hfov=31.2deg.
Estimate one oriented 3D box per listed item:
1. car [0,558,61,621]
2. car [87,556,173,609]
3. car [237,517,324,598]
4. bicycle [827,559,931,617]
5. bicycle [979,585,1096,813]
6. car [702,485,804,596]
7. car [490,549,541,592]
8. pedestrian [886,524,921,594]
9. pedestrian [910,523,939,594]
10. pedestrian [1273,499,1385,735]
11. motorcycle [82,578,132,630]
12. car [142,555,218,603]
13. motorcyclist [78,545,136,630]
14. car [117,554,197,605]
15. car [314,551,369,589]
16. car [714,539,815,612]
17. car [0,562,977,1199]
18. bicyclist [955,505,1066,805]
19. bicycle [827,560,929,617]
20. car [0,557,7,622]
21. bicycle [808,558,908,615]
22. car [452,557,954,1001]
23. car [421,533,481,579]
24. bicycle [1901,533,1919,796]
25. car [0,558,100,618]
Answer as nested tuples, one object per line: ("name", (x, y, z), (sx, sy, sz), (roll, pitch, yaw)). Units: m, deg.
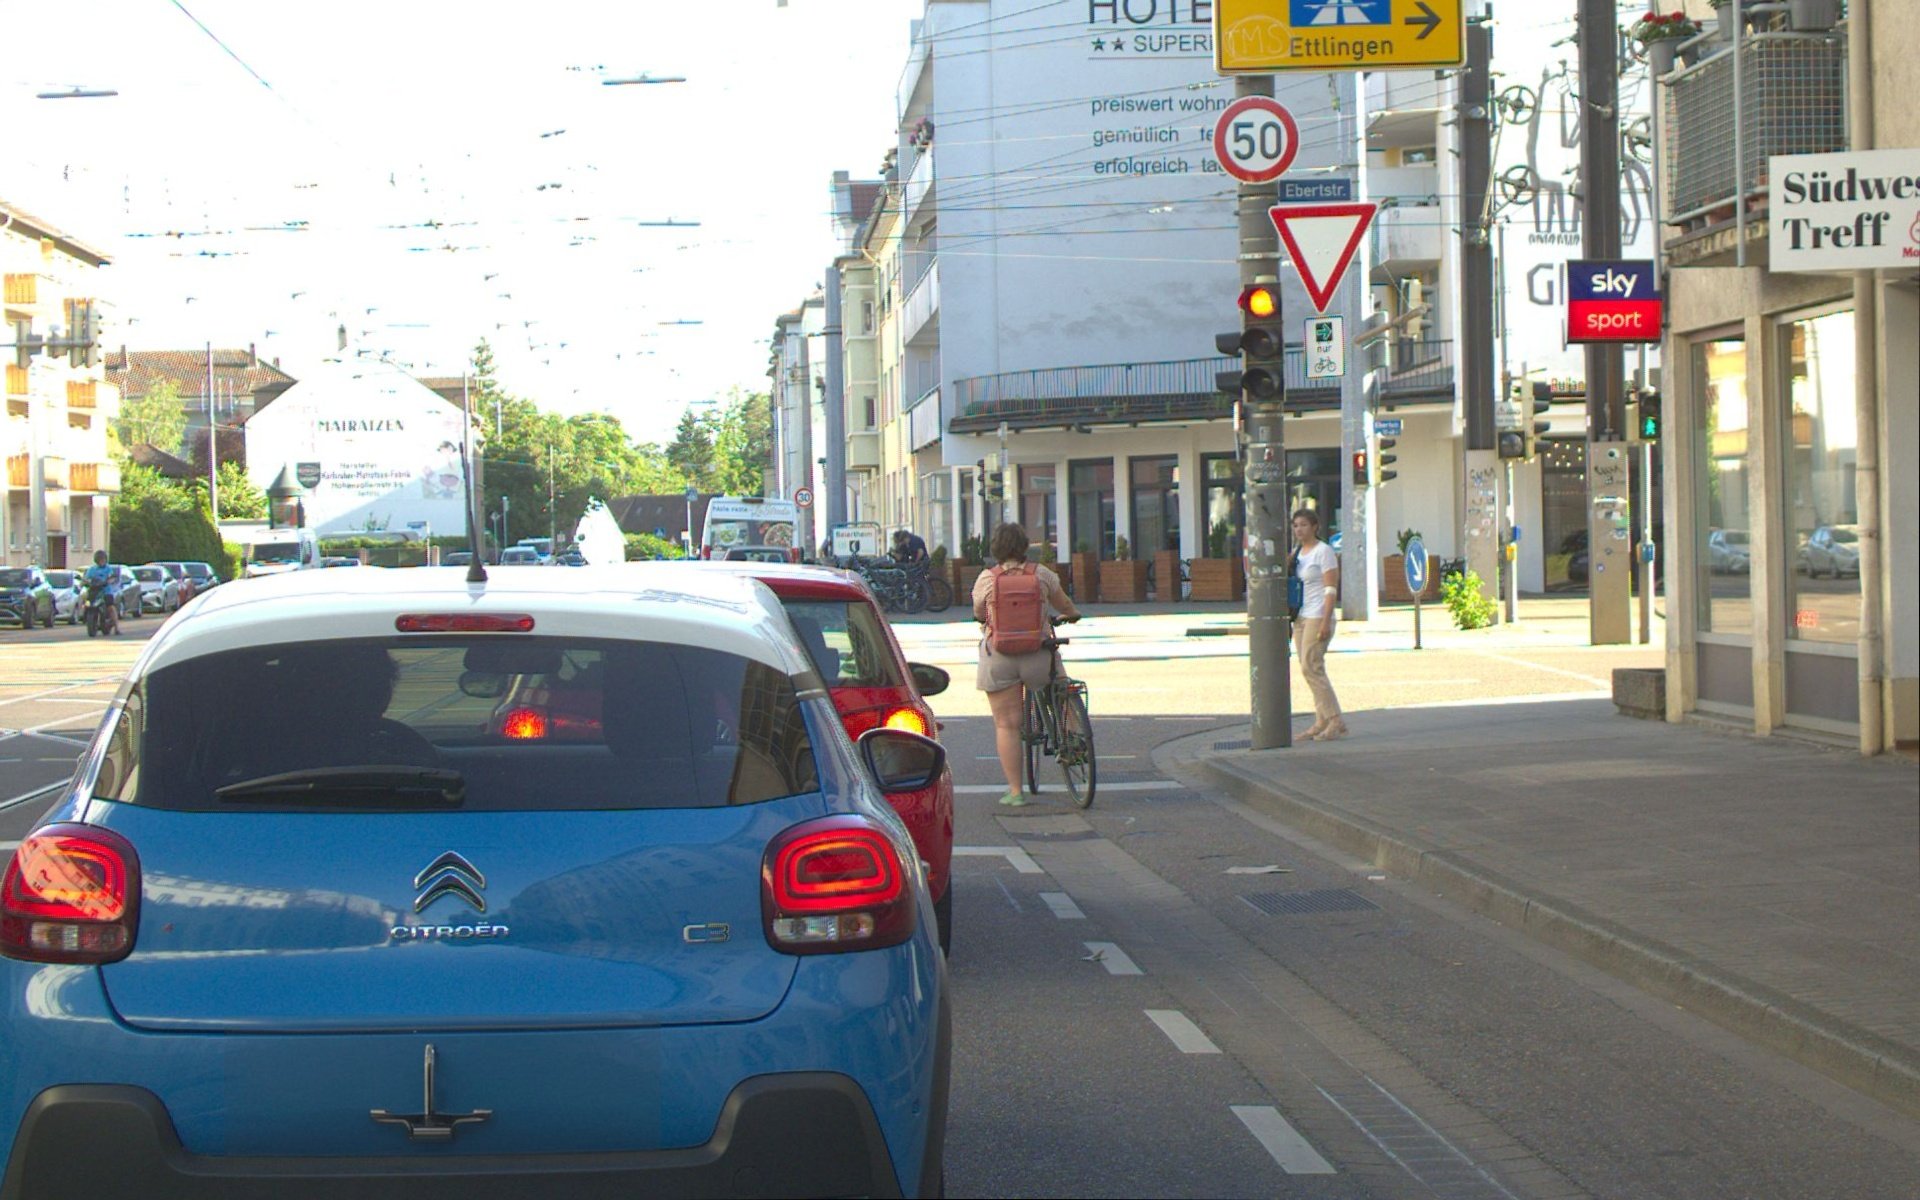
("car", (-23.785, -0.268, 85.896), (1.950, 1.514, 4.001), (-1, 1, -6))
("car", (-24.926, -0.544, 103.385), (1.950, 1.514, 4.001), (-1, 1, -6))
("car", (-23.662, -1.506, 119.942), (2.493, 2.703, 5.839), (-1, 1, -7))
("bicycle", (-1.556, -0.240, 65.822), (1.904, 1.061, 0.642), (-1, 1, -7))
("bicycle", (0.451, 0.564, 20.650), (0.613, 1.260, 1.911), (-1, 1, -1))
("car", (-4.431, -1.275, 73.248), (2.079, 2.262, 5.652), (0, 1, -4))
("car", (-22.048, -1.505, 170.848), (2.338, 2.032, 5.051), (-1, 1, -6))
("pedestrian", (-1.152, -0.843, 70.266), (0.525, 1.415, 0.546), (-1, 1, 20))
("pedestrian", (-0.718, -0.846, 70.014), (0.467, 1.415, 0.527), (-1, 1, -13))
("pedestrian", (2.611, 0.112, 24.383), (0.751, 1.629, 0.740), (-1, 1, 6))
("motorcycle", (-16.692, 0.074, 67.293), (0.751, 0.973, 2.098), (-1, 1, -9))
("car", (-26.069, -0.724, 115.006), (1.950, 1.514, 4.001), (-1, 1, -6))
("motorcyclist", (-16.673, -0.251, 67.220), (0.991, 1.625, 0.739), (-1, 1, -9))
("car", (-25.359, -0.674, 108.664), (1.950, 1.514, 4.001), (-1, 1, -6))
("car", (-25.978, -1.284, 144.575), (1.950, 1.514, 4.001), (-1, 1, -6))
("car", (-3.880, -0.513, 67.813), (1.786, 1.354, 3.915), (-1, 1, -6))
("car", (-0.955, 0.674, 7.383), (1.680, 1.457, 4.001), (0, 1, -4))
("bicyclist", (0.294, 0.308, 20.607), (0.600, 1.740, 1.084), (-1, 1, -1))
("bicycle", (-1.605, -0.234, 67.128), (1.904, 1.061, 0.642), (-1, 1, -7))
("car", (-23.320, -0.195, 79.232), (1.950, 1.514, 4.001), (-1, 1, -6))
("bicycle", (-2.024, -0.272, 68.320), (1.904, 1.061, 0.642), (-1, 1, -7))
("car", (-1.002, 0.582, 13.592), (1.680, 1.457, 4.001), (0, 1, -4))
("car", (-18.692, -1.631, 126.358), (2.004, 1.622, 5.054), (-1, 1, -7))
("bicycle", (4.918, 0.319, 15.761), (0.640, 1.260, 1.911), (-1, 1, -1))
("car", (-24.305, -0.337, 91.954), (1.950, 1.514, 4.001), (-1, 1, -6))
